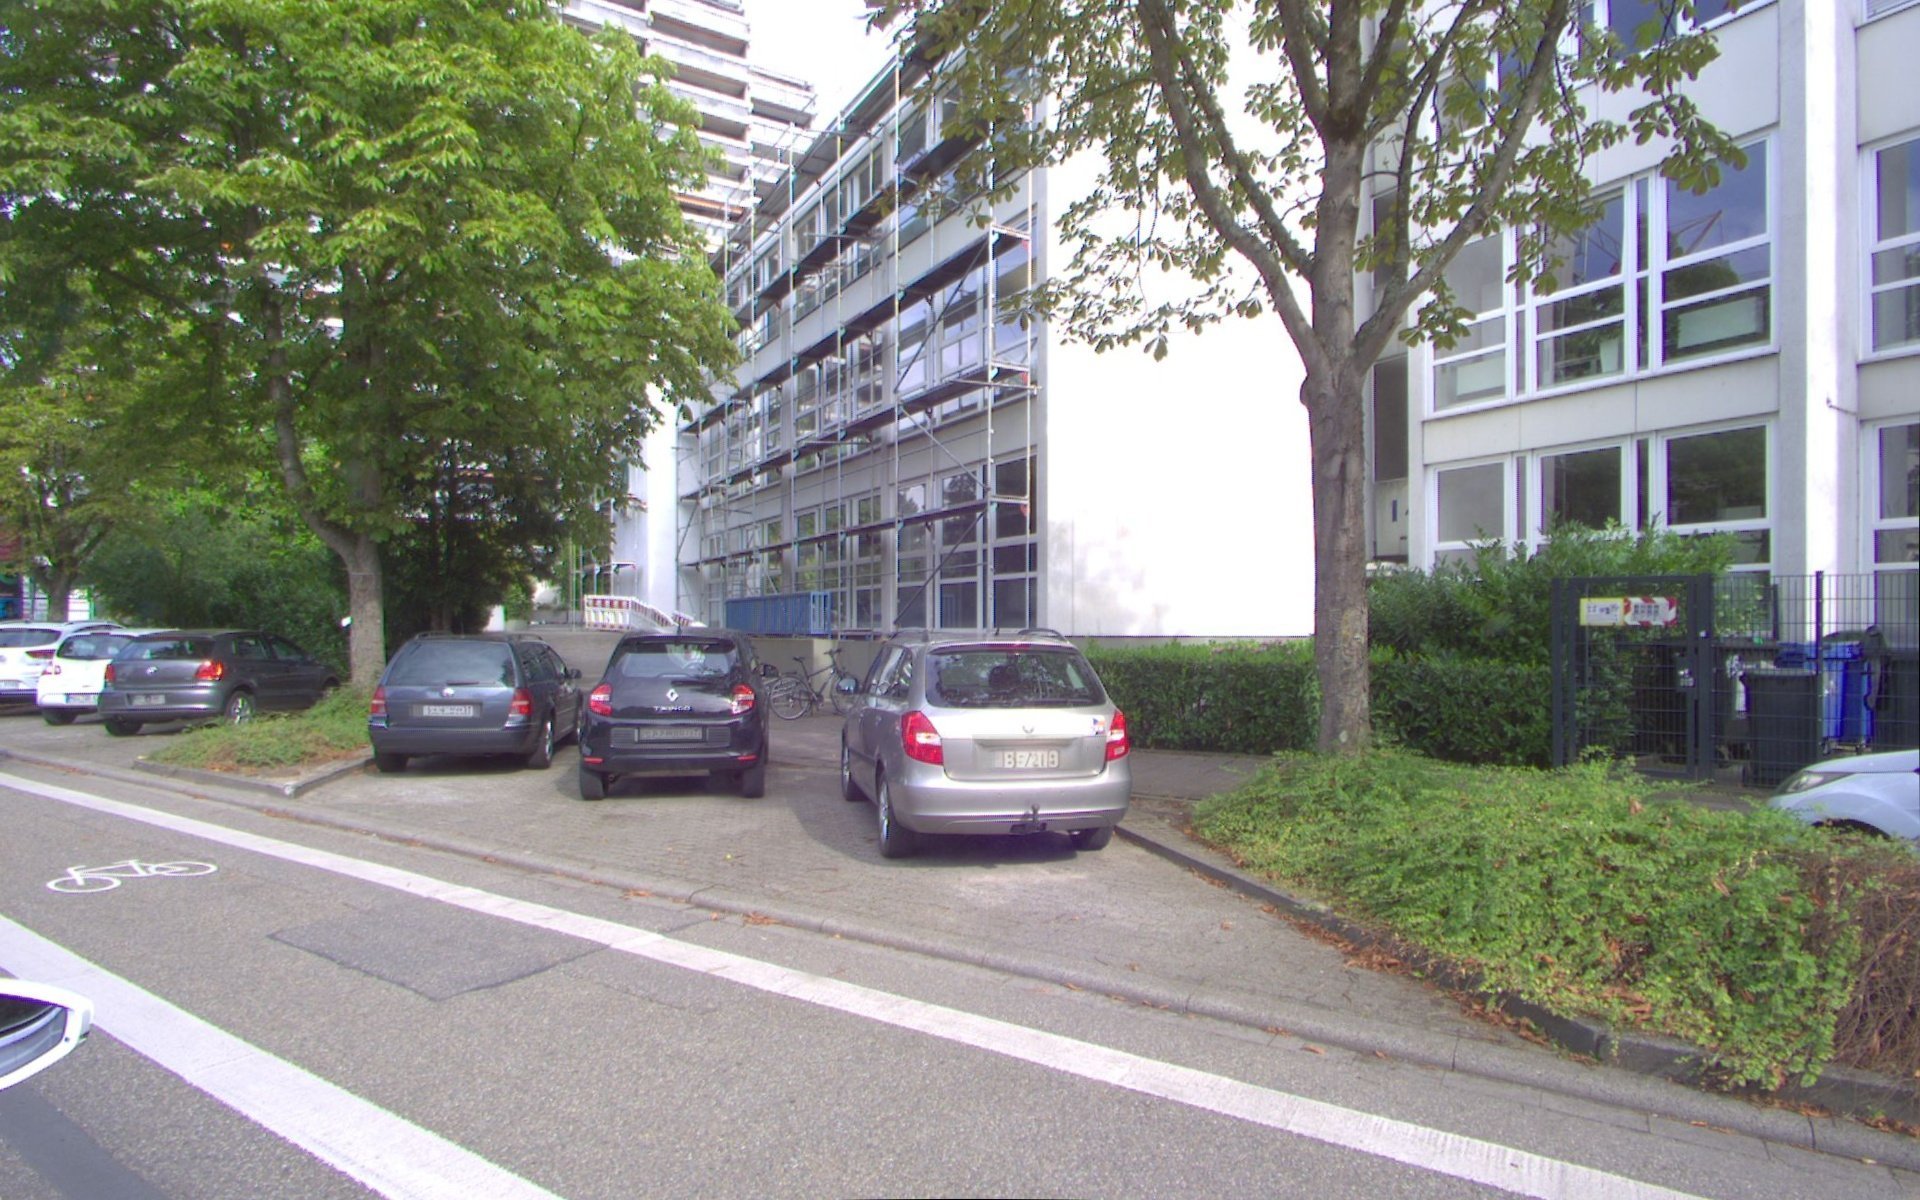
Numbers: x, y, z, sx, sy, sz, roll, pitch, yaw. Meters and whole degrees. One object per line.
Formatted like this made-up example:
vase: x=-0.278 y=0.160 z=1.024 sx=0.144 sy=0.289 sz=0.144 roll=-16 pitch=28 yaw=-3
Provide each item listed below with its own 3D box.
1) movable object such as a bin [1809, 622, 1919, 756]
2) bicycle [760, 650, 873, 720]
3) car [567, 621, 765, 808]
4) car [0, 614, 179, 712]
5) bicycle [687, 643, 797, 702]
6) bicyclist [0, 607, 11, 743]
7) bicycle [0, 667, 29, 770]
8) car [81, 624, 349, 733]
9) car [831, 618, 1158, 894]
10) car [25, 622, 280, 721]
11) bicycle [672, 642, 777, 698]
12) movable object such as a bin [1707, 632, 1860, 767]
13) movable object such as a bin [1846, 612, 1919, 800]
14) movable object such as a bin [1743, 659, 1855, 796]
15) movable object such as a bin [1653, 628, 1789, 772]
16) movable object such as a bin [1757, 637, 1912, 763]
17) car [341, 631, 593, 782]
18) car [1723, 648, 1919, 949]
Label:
movable object such as a bin: x=11.568 y=1.073 z=12.567 sx=1.160 sy=1.588 sz=1.171 roll=1 pitch=-1 yaw=-36
bicycle: x=-2.370 y=1.382 z=16.593 sx=1.813 sy=1.057 sz=0.451 roll=0 pitch=0 yaw=-29
car: x=-2.813 y=1.010 z=10.190 sx=1.566 sy=1.557 sz=3.416 roll=1 pitch=-1 yaw=-10
car: x=-16.288 y=1.102 z=18.371 sx=1.651 sy=1.623 sz=3.644 roll=0 pitch=-2 yaw=-12
bicycle: x=-4.108 y=1.342 z=18.948 sx=1.949 sy=1.057 sz=0.591 roll=1 pitch=-1 yaw=-30
bicyclist: x=-10.910 y=0.815 z=10.926 sx=0.862 sy=1.478 sz=0.592 roll=0 pitch=-1 yaw=31
bicycle: x=-10.905 y=1.260 z=10.912 sx=1.949 sy=1.057 sz=0.592 roll=-1 pitch=-1 yaw=31
car: x=-11.092 y=1.106 z=15.258 sx=1.650 sy=1.438 sz=3.647 roll=0 pitch=-2 yaw=-6
car: x=-0.019 y=0.955 z=7.815 sx=1.566 sy=1.557 sz=4.049 roll=1 pitch=-2 yaw=-13
car: x=-13.431 y=1.135 z=16.959 sx=1.650 sy=1.493 sz=3.647 roll=0 pitch=-2 yaw=-6
bicycle: x=-4.628 y=1.350 z=19.682 sx=1.944 sy=1.057 sz=0.593 roll=1 pitch=-1 yaw=-20
movable object such as a bin: x=9.240 y=1.071 z=11.252 sx=1.050 sy=1.409 sz=1.111 roll=1 pitch=-1 yaw=-36
movable object such as a bin: x=8.600 y=0.886 z=8.562 sx=1.397 sy=1.549 sz=1.322 roll=-1 pitch=-1 yaw=37
movable object such as a bin: x=7.463 y=1.105 z=8.947 sx=0.734 sy=1.119 sz=0.781 roll=0 pitch=-1 yaw=38
movable object such as a bin: x=8.079 y=1.018 z=10.639 sx=1.012 sy=1.425 sz=0.906 roll=1 pitch=-1 yaw=-36
movable object such as a bin: x=10.385 y=1.139 z=11.905 sx=1.160 sy=1.388 sz=1.171 roll=1 pitch=-1 yaw=-36
car: x=-5.517 y=1.084 z=11.787 sx=1.783 sy=1.433 sz=4.166 roll=0 pitch=-2 yaw=-13
car: x=5.570 y=0.938 z=4.016 sx=1.604 sy=1.411 sz=3.858 roll=1 pitch=-2 yaw=-13
